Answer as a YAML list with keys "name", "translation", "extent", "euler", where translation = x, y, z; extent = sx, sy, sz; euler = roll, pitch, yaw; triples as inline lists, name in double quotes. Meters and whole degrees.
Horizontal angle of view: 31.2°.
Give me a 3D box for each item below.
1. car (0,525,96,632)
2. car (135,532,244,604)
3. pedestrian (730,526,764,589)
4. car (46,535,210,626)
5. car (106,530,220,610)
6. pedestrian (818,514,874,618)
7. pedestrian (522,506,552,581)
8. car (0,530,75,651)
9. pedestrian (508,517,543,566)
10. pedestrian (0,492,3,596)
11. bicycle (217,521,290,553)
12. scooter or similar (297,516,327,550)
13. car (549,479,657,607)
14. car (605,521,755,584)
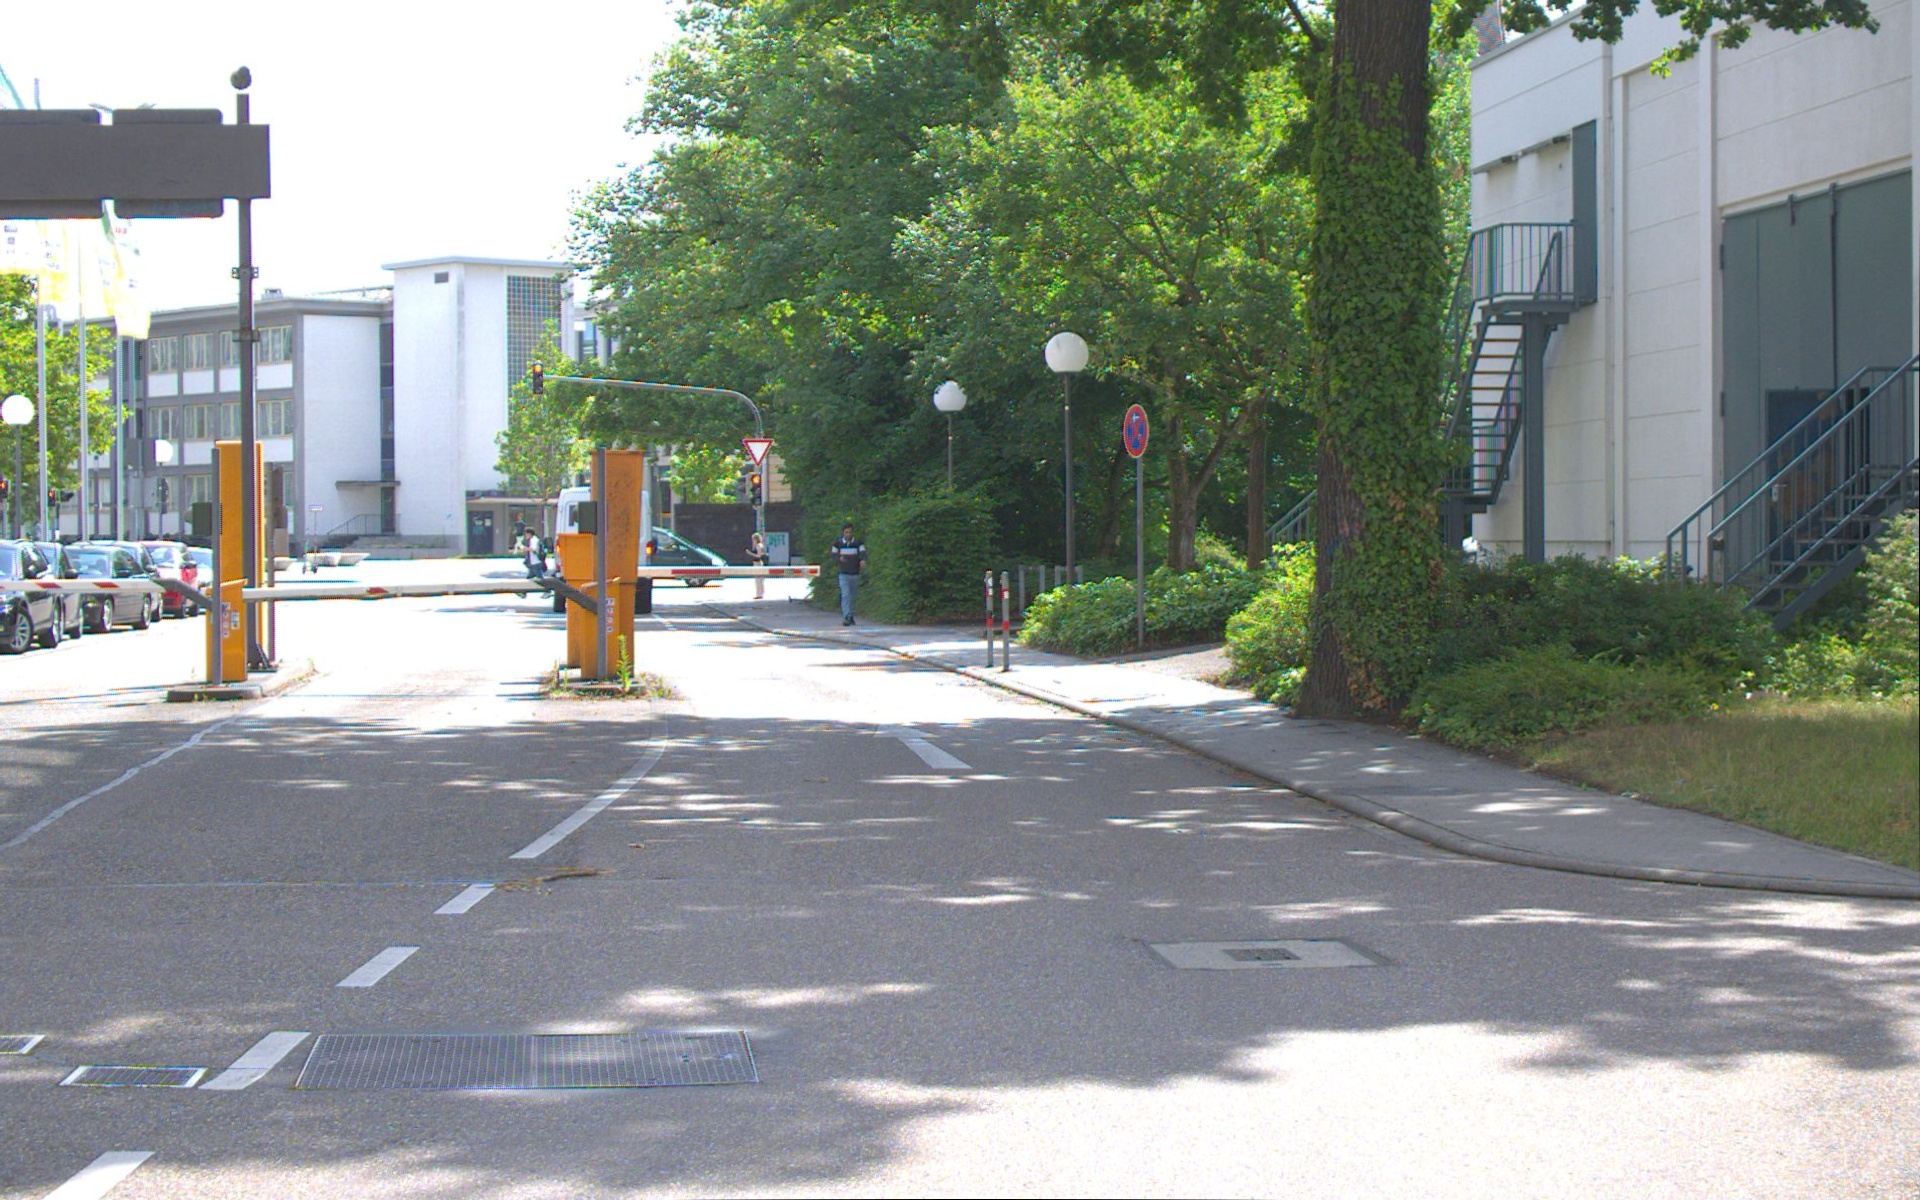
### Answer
- name: "car"
  translation: [-13.652, -0.343, 49.918]
  extent: [1.638, 1.462, 3.708]
  euler: [2, 1, -7]
- name: "car"
  translation: [-16.186, -0.695, 72.392]
  extent: [1.676, 1.390, 4.663]
  euler: [2, 1, -6]
- name: "pedestrian"
  translation: [-5.325, -1.060, 85.828]
  extent: [0.731, 1.570, 0.776]
  euler: [1, 1, -11]
- name: "car"
  translation: [-13.672, -0.355, 56.758]
  extent: [1.859, 1.373, 5.017]
  euler: [2, 1, -5]
- name: "car"
  translation: [-15.670, -0.617, 67.743]
  extent: [1.676, 1.462, 3.912]
  euler: [2, 1, -6]
- name: "pedestrian"
  translation: [-1.845, -0.559, 55.708]
  extent: [0.739, 1.669, 1.257]
  euler: [0, 1, -10]
- name: "pedestrian"
  translation: [-10.543, -1.413, 85.685]
  extent: [0.719, 1.853, 0.770]
  euler: [0, 1, -5]
- name: "car"
  translation: [-12.896, -0.176, 45.035]
  extent: [1.859, 1.462, 4.720]
  euler: [2, 1, -7]
- name: "pedestrian"
  translation: [-17.877, -2.409, 141.411]
  extent: [1.140, 2.007, 1.156]
  euler: [0, 1, 8]
- name: "pedestrian"
  translation: [-19.186, -1.074, 66.643]
  extent: [0.903, 2.020, 0.797]
  euler: [0, 1, 23]
- name: "bicycle"
  translation: [-30.664, -2.721, 149.289]
  extent: [2.957, 1.359, 1.116]
  euler: [-1, 1, -44]
- name: "scooter or similar"
  translation: [-22.183, -2.302, 117.635]
  extent: [0.716, 1.174, 2.726]
  euler: [0, 1, -17]
- name: "car"
  translation: [-7.486, -1.220, 71.760]
  extent: [2.094, 2.558, 5.604]
  euler: [-1, 2, -7]
- name: "car"
  translation: [-7.864, -1.340, 96.362]
  extent: [4.075, 1.741, 1.730]
  euler: [-1, 1, -9]
